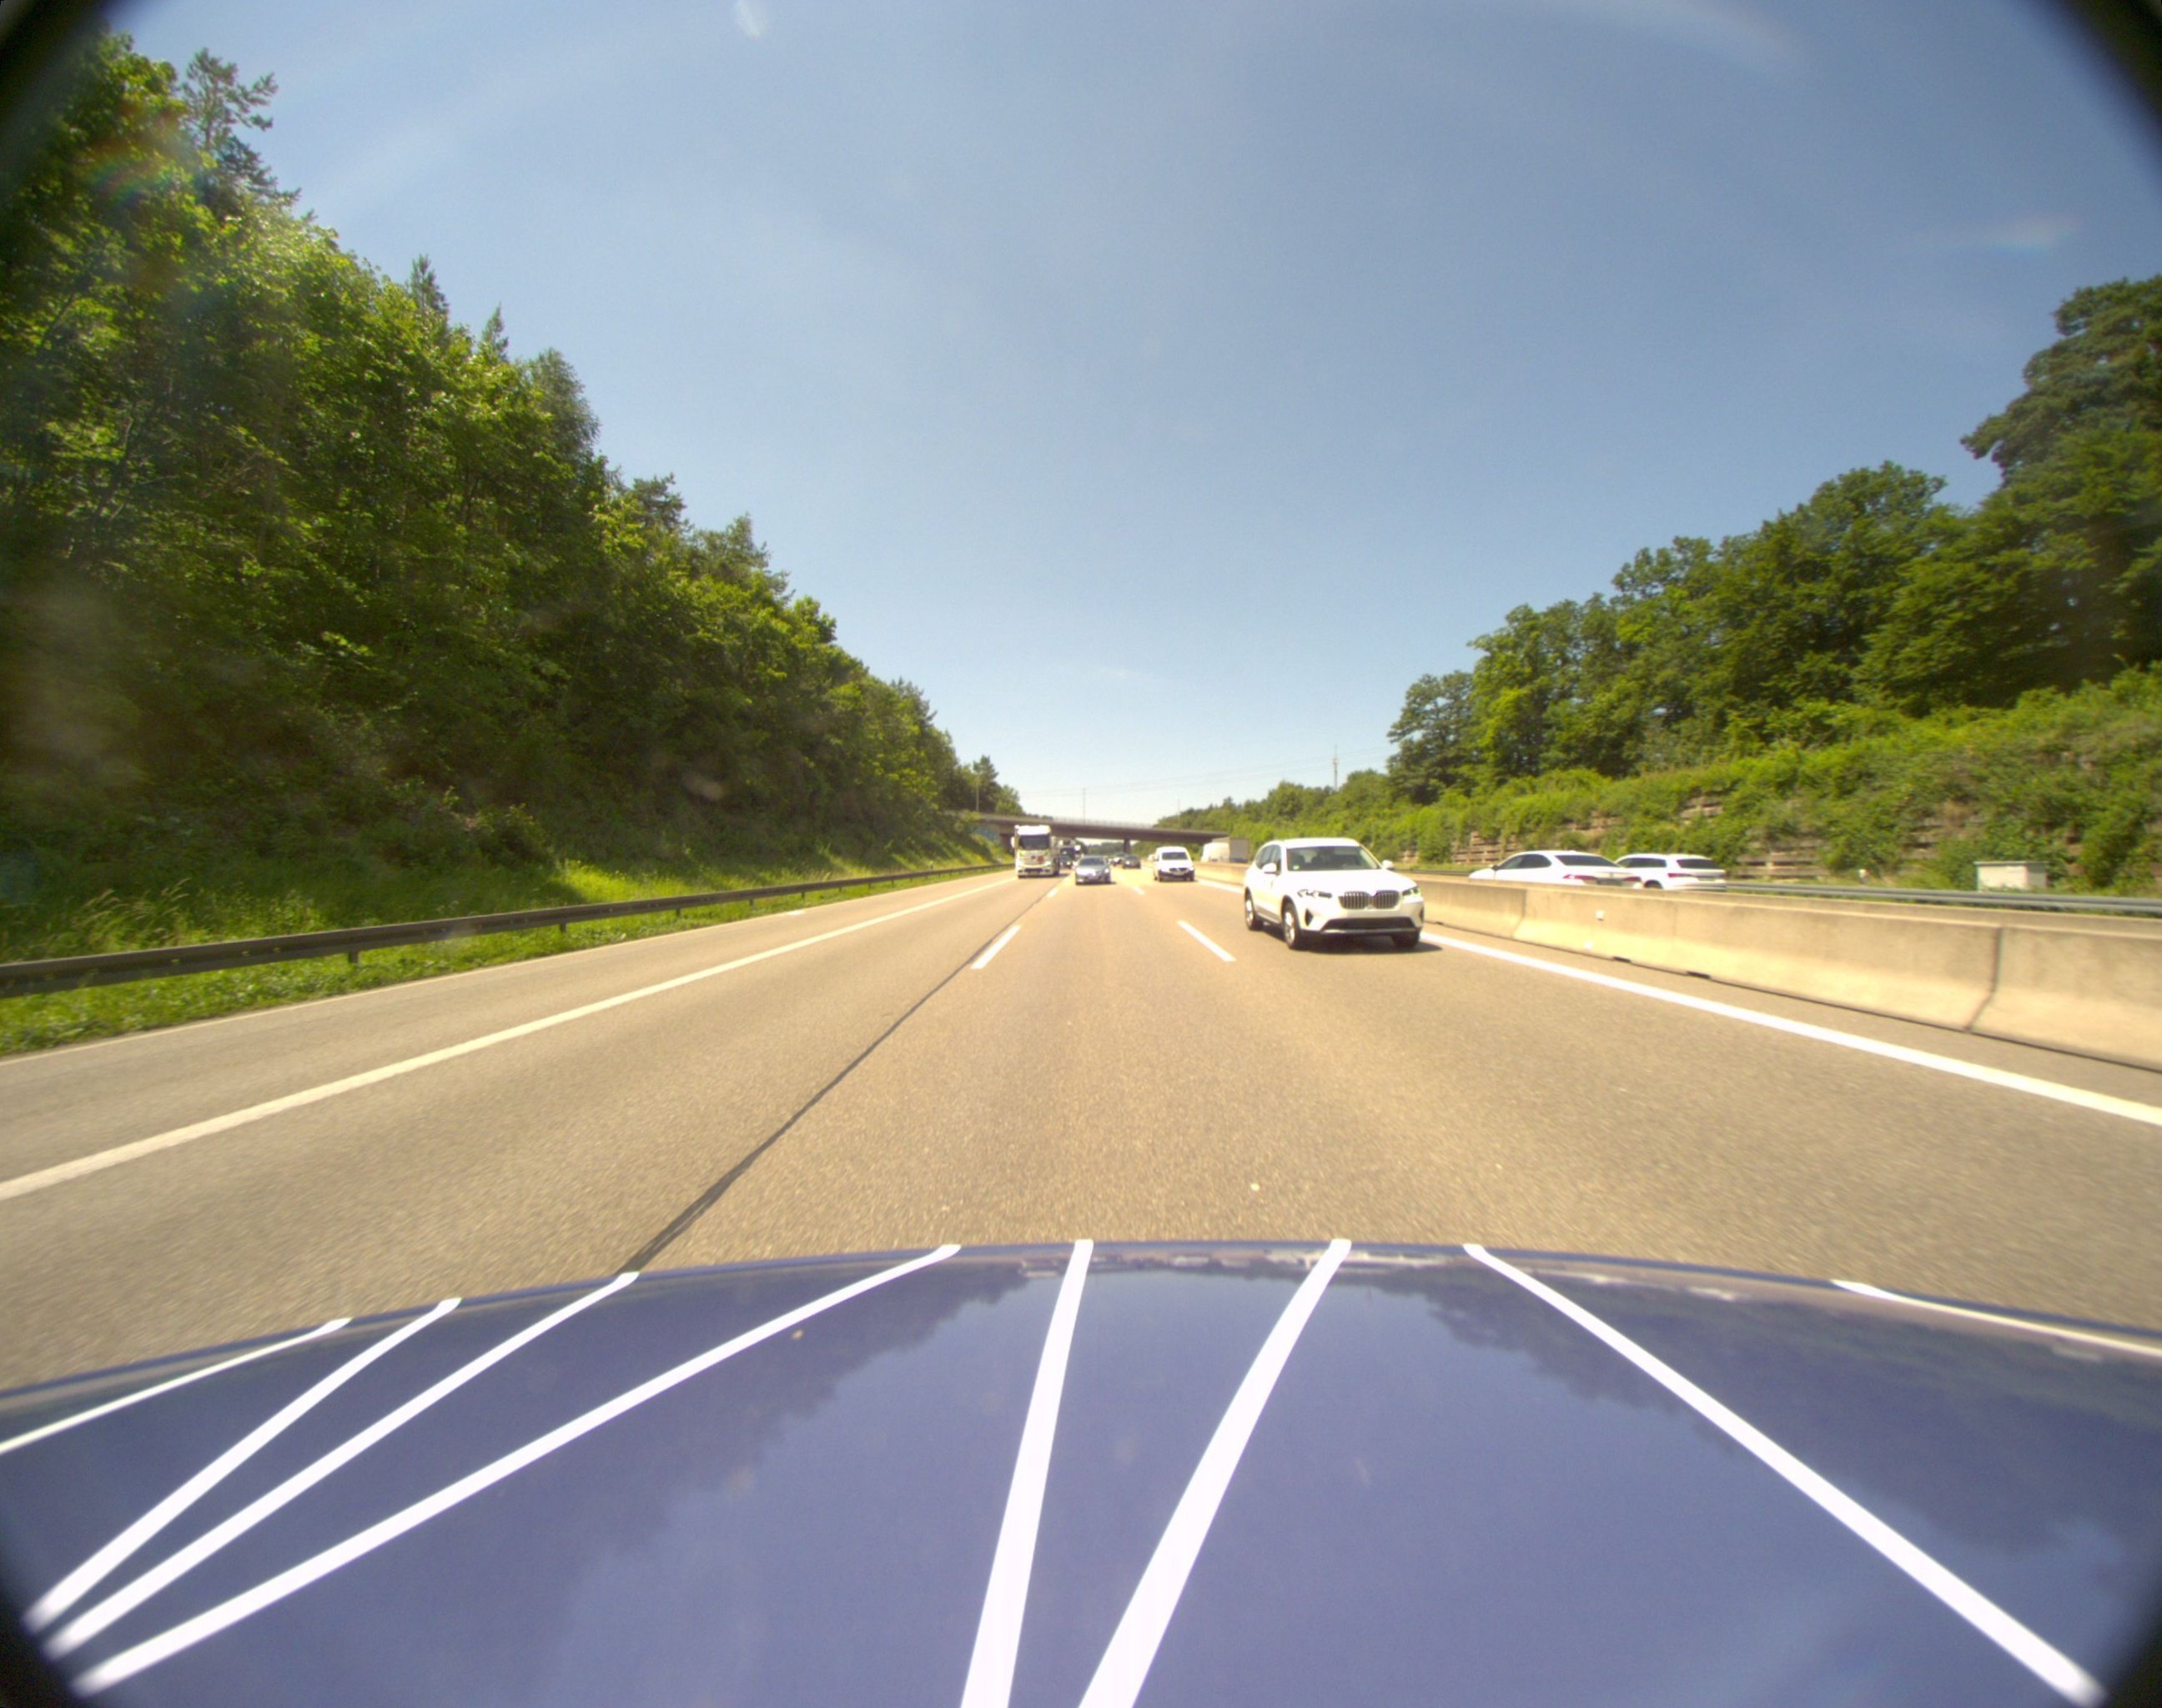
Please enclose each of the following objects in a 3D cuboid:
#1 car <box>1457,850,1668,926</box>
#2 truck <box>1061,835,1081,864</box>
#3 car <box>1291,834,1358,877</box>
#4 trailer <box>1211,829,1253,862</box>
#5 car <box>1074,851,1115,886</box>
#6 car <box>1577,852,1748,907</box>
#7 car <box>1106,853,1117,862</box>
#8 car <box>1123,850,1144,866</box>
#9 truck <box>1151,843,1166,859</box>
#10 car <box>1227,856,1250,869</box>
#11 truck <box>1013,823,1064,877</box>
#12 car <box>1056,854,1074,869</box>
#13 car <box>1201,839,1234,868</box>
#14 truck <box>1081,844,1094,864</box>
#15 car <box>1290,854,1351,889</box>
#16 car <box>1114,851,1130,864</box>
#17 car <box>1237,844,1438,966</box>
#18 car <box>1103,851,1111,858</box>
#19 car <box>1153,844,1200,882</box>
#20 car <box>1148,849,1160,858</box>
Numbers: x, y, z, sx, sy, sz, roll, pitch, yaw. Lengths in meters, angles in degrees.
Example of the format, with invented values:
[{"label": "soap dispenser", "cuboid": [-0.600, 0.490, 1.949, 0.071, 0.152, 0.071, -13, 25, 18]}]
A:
[{"label": "car", "cuboid": [11.582, 0.715, 18.859, 1.944, 1.595, 5.226, 1, 0, 1]}, {"label": "truck", "cuboid": [-1.529, -0.760, 122.578, 2.627, 4.365, 13.085, -2, 1, 1]}, {"label": "car", "cuboid": [16.129, 0.063, 50.871, 2.245, 2.667, 7.137, 1, 0, 1]}, {"label": "trailer", "cuboid": [20.601, -1.217, 104.521, 2.942, 4.162, 14.182, -2, 1, 1]}, {"label": "car", "cuboid": [0.732, 0.677, 37.545, 1.843, 1.518, 4.501, -2, 1, 2]}, {"label": "car", "cuboid": [18.942, 0.767, 25.117, 1.944, 1.595, 4.860, 1, 0, 1]}, {"label": "car", "cuboid": [5.848, 0.610, 145.519, 1.770, 1.504, 3.999, -2, 1, 1]}, {"label": "car", "cuboid": [5.351, 0.408, 77.370, 1.770, 1.504, 4.725, -2, 1, 1]}, {"label": "truck", "cuboid": [22.092, -1.009, 217.168, 2.627, 4.365, 13.085, -2, 1, 1]}, {"label": "car", "cuboid": [16.635, 0.914, 80.405, 1.646, 1.280, 4.104, 1, 0, 1]}, {"label": "truck", "cuboid": [-2.978, -0.339, 57.329, 2.844, 3.518, 13.085, -2, 1, 1]}, {"label": "car", "cuboid": [-1.761, 0.803, 83.220, 1.770, 1.504, 3.999, -2, 1, 1]}, {"label": "car", "cuboid": [13.002, -0.057, 72.679, 2.245, 2.668, 5.341, 1, 1, 0]}, {"label": "truck", "cuboid": [1.440, -0.140, 174.666, 2.627, 4.365, 13.085, -2, 1, 1]}, {"label": "car", "cuboid": [11.944, 0.838, 38.223, 1.736, 1.595, 4.281, 1, 0, 1]}, {"label": "car", "cuboid": [5.155, 0.461, 96.389, 1.770, 1.504, 3.999, -2, 1, 1]}, {"label": "car", "cuboid": [3.966, 0.685, 12.596, 1.850, 1.634, 4.368, -2, 0, 1]}, {"label": "car", "cuboid": [6.771, 0.067, 197.694, 1.944, 1.616, 4.281, 1, 0, 0]}, {"label": "car", "cuboid": [4.964, 0.418, 40.097, 1.998, 1.764, 4.501, -2, 1, 2]}, {"label": "car", "cuboid": [13.807, -0.058, 143.524, 1.944, 1.616, 4.281, 1, 0, 0]}]
